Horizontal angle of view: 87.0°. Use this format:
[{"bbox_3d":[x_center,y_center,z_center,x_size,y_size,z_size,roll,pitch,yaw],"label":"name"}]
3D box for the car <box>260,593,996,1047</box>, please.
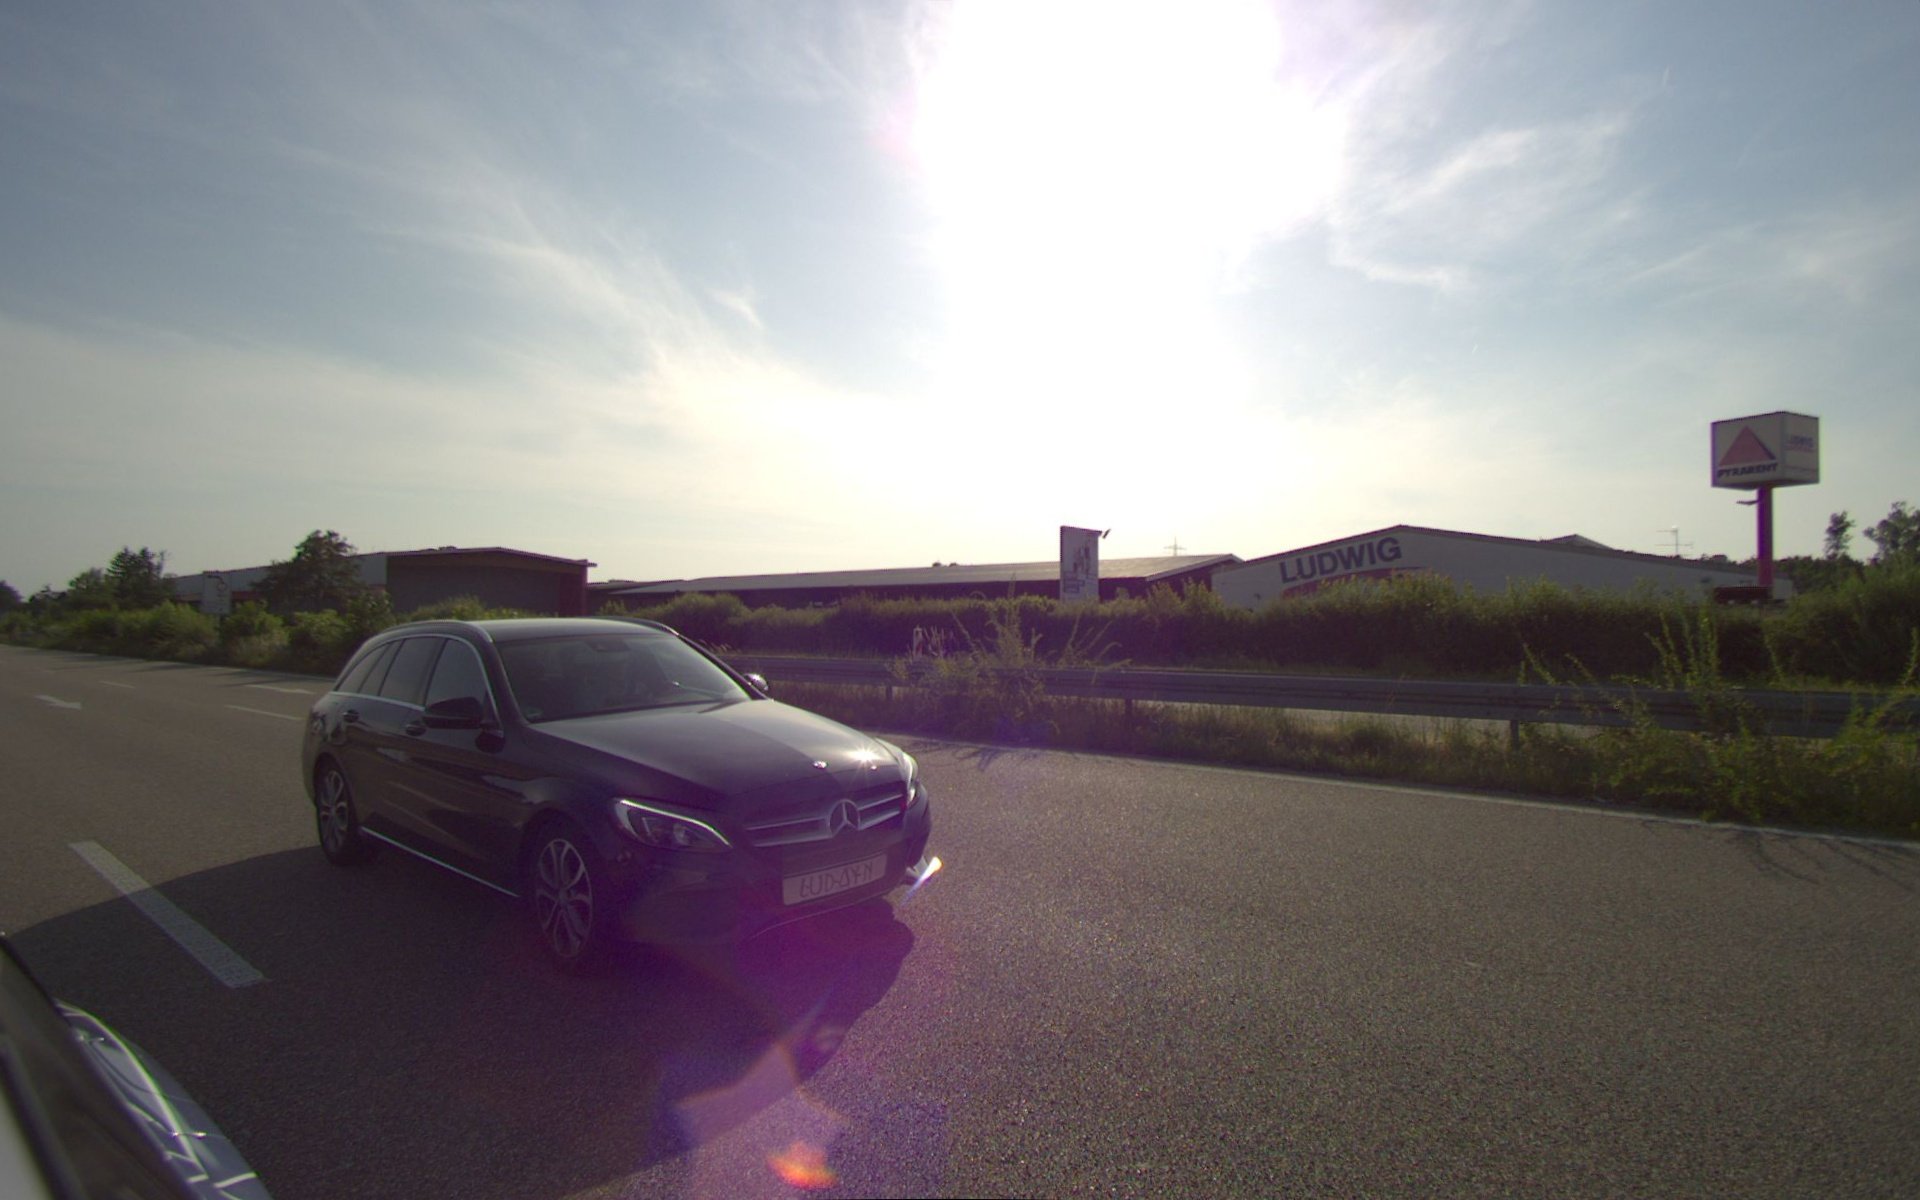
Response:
[{"bbox_3d":[-2.223,0.770,5.586,5.020,1.482,1.556,-1,-2,42],"label":"car"}]
